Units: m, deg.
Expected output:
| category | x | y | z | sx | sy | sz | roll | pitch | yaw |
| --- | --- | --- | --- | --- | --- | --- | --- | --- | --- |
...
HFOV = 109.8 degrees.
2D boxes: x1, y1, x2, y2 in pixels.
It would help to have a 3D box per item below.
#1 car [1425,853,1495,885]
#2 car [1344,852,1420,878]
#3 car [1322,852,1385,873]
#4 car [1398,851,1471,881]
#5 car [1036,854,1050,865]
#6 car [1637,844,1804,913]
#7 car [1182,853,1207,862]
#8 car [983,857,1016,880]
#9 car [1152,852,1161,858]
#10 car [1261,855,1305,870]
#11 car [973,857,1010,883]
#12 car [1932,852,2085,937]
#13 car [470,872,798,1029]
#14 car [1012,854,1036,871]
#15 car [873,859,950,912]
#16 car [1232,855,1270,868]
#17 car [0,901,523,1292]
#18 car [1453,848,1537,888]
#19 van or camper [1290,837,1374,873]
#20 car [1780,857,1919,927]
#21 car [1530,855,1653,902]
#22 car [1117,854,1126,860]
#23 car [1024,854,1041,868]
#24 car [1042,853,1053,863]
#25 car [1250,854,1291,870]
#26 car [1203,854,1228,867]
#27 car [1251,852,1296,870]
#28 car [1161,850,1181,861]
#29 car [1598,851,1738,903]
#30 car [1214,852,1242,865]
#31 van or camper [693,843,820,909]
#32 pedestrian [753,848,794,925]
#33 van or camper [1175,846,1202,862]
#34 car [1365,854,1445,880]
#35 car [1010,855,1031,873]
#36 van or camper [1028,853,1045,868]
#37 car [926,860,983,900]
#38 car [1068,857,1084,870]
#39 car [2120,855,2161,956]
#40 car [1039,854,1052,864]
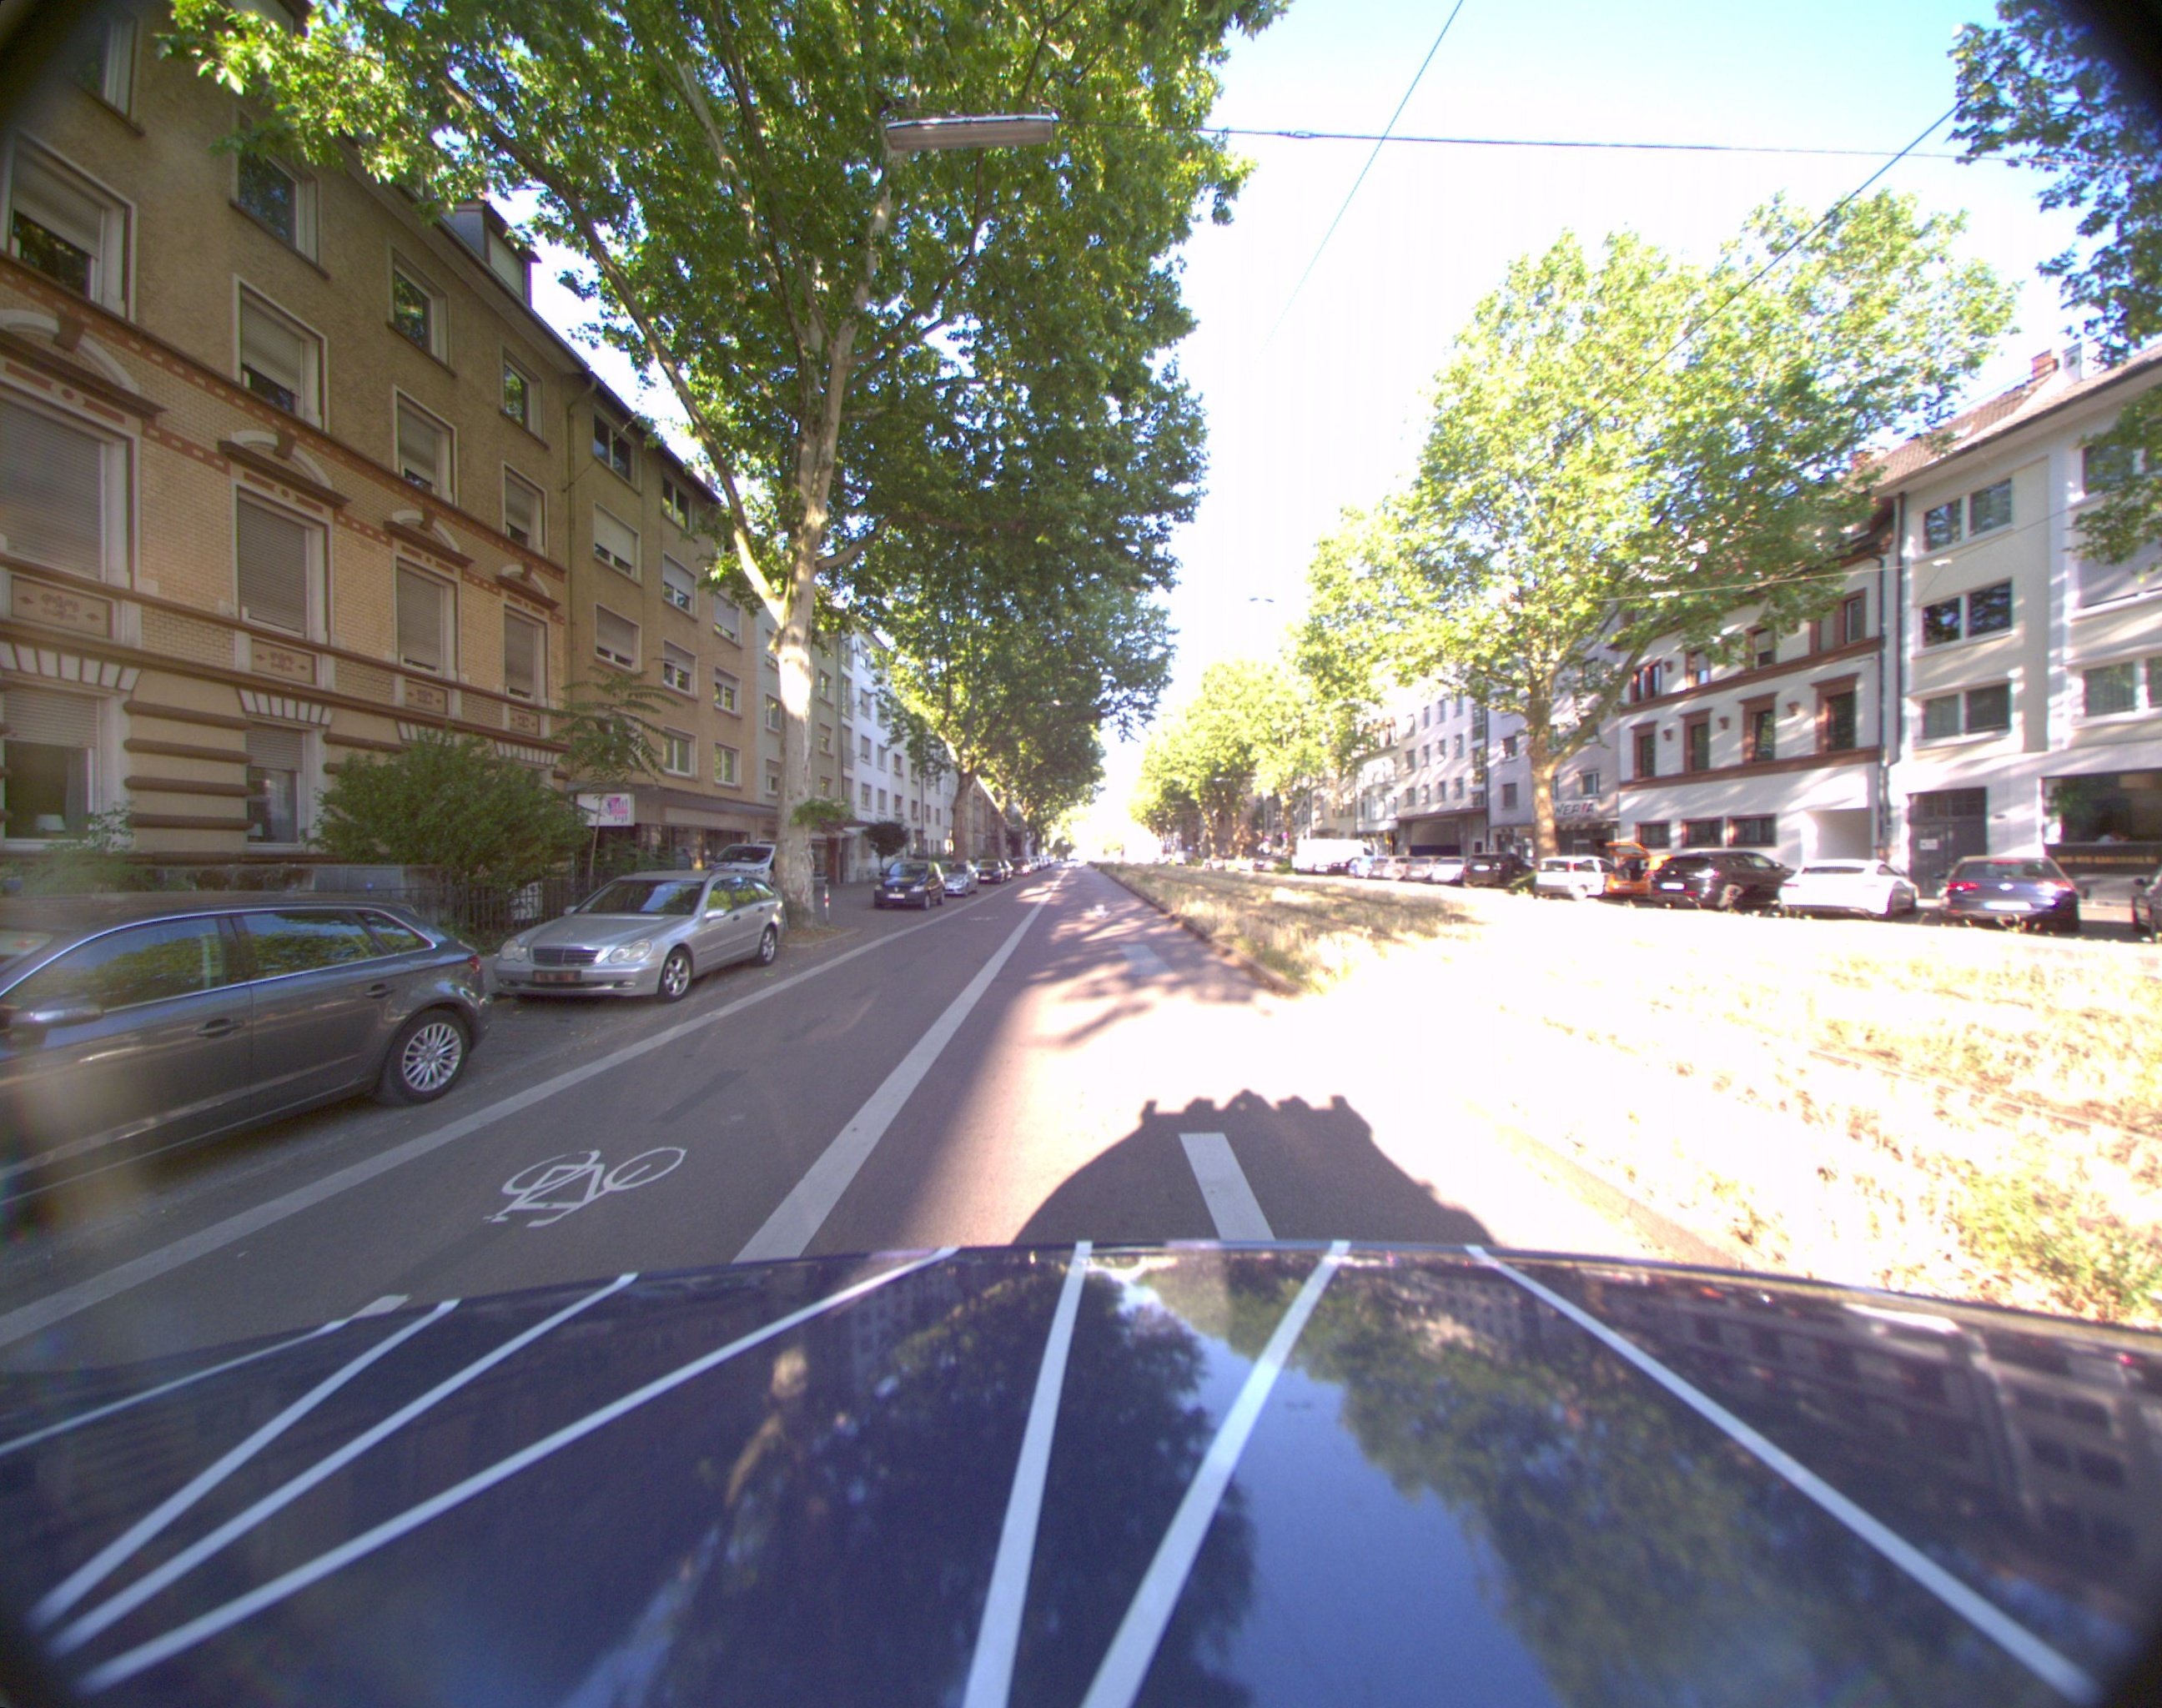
| category | x | y | z | sx | sy | sz | roll | pitch | yaw |
| --- | --- | --- | --- | --- | --- | --- | --- | --- | --- |
| car | 18.921 | 0.735 | 37.871 | 4.008 | 1.377 | 1.907 | -2 | 0 | -45 |
| car | 18.973 | 0.667 | 48.018 | 3.998 | 1.412 | 1.857 | -3 | 1 | -4 |
| car | 19.715 | 0.603 | 54.944 | 4.004 | 1.482 | 1.996 | 0 | 0 | -22 |
| car | 19.071 | 0.639 | 40.951 | 4.006 | 1.414 | 1.752 | -3 | 1 | -34 |
| car | -5.473 | 0.774 | 109.727 | 1.790 | 1.609 | 3.829 | 1 | 0 | 0 |
| car | 18.306 | 0.678 | 21.752 | 4.370 | 1.776 | 1.989 | 1 | 1 | -26 |
| car | 18.989 | 0.570 | 127.197 | 4.006 | 1.240 | 1.726 | -4 | 1 | -34 |
| car | -5.393 | 0.922 | 50.567 | 1.713 | 1.407 | 4.363 | 2 | 0 | 0 |
| car | 20.205 | 0.302 | 202.877 | 1.998 | 1.412 | 4.000 | -2 | 1 | 2 |
| car | 18.709 | 0.802 | 70.261 | 4.014 | 1.349 | 1.797 | 1 | 0 | -37 |
| car | -5.308 | 0.913 | 45.676 | 1.713 | 1.407 | 4.363 | 2 | 0 | 0 |
| car | 19.369 | 0.765 | 16.026 | 4.007 | 1.433 | 1.797 | -3 | 1 | -43 |
| car | -5.335 | 1.020 | 9.927 | 1.678 | 1.443 | 4.570 | 0 | 0 | -2 |
| car | -5.473 | 0.802 | 73.263 | 1.999 | 1.557 | 4.663 | 2 | 1 | 0 |
| car | -5.419 | 0.965 | 24.721 | 1.658 | 1.536 | 3.999 | 0 | 0 | -1 |
| car | 18.220 | 0.770 | 81.432 | 3.687 | 1.382 | 1.822 | -1 | 0 | -31 |
| car | -5.174 | 1.063 | 3.661 | 1.714 | 1.388 | 4.321 | 0 | 0 | 1 |
| car | 18.694 | 0.616 | 34.233 | 4.008 | 1.651 | 1.995 | -1 | 0 | -41 |
| van or camper | 18.991 | 0.040 | 57.453 | 5.974 | 2.631 | 2.175 | -1 | 0 | -20 |
| car | 18.659 | 0.848 | 18.403 | 4.212 | 1.325 | 1.718 | -3 | 1 | -36 |
| car | 18.047 | 0.803 | 26.814 | 4.369 | 1.440 | 1.655 | -2 | 1 | -26 |
| car | 10.956 | 0.821 | 205.146 | 1.997 | 1.477 | 4.002 | -2 | 1 | 8 |
| car | -5.535 | 0.784 | 86.405 | 1.702 | 1.517 | 4.194 | 0 | 0 | 0 |
| car | -5.584 | 0.630 | 127.089 | 1.791 | 1.585 | 4.013 | 1 | 0 | -2 |
| car | 19.230 | 0.791 | 76.928 | 4.008 | 1.524 | 1.821 | 1 | -1 | -36 |
| car | 15.053 | 0.673 | 85.181 | 1.825 | 1.382 | 4.483 | 2 | 0 | -1 |
| car | 18.655 | 0.705 | 73.548 | 4.169 | 1.583 | 1.932 | 2 | -1 | -36 |
| car | 18.330 | 0.360 | 154.808 | 4.007 | 2.002 | 1.995 | -3 | 1 | -42 |
| car | 19.507 | 0.724 | 25.263 | 4.003 | 1.471 | 1.774 | -3 | 1 | -20 |
| car | 18.843 | 0.619 | 97.407 | 1.726 | 1.643 | 4.009 | -1 | -1 | 40 |
| van or camper | -10.428 | 0.639 | 24.956 | 1.947 | 1.911 | 5.390 | 0 | 0 | -1 |
| pedestrian | -8.185 | 0.845 | 20.271 | 0.684 | 2.002 | 1.011 | 0 | 1 | -3 |
| van or camper | 18.375 | 0.007 | 129.720 | 4.371 | 2.386 | 2.196 | -4 | 2 | -40 |
| car | 19.181 | 0.727 | 45.082 | 4.002 | 1.483 | 1.948 | 0 | 0 | -13 |
| car | -5.271 | 0.852 | 66.487 | 1.748 | 1.455 | 4.024 | -1 | 0 | -5 |
| van or camper | -5.400 | 0.755 | 92.704 | 1.790 | 1.710 | 4.379 | 1 | 0 | 1 |
| car | -5.302 | 1.050 | 32.477 | 1.699 | 1.533 | 4.776 | 0 | 0 | -1 |
| car | -0.659 | 1.256 | 97.600 | 1.893 | 1.501 | 4.000 | -3 | 1 | 1 |
| car | 19.064 | 0.807 | 12.686 | 4.007 | 1.433 | 1.717 | -3 | 1 | -41 |
| car | -5.598 | 0.821 | 119.800 | 1.790 | 1.458 | 3.569 | 1 | 0 | 0 |
